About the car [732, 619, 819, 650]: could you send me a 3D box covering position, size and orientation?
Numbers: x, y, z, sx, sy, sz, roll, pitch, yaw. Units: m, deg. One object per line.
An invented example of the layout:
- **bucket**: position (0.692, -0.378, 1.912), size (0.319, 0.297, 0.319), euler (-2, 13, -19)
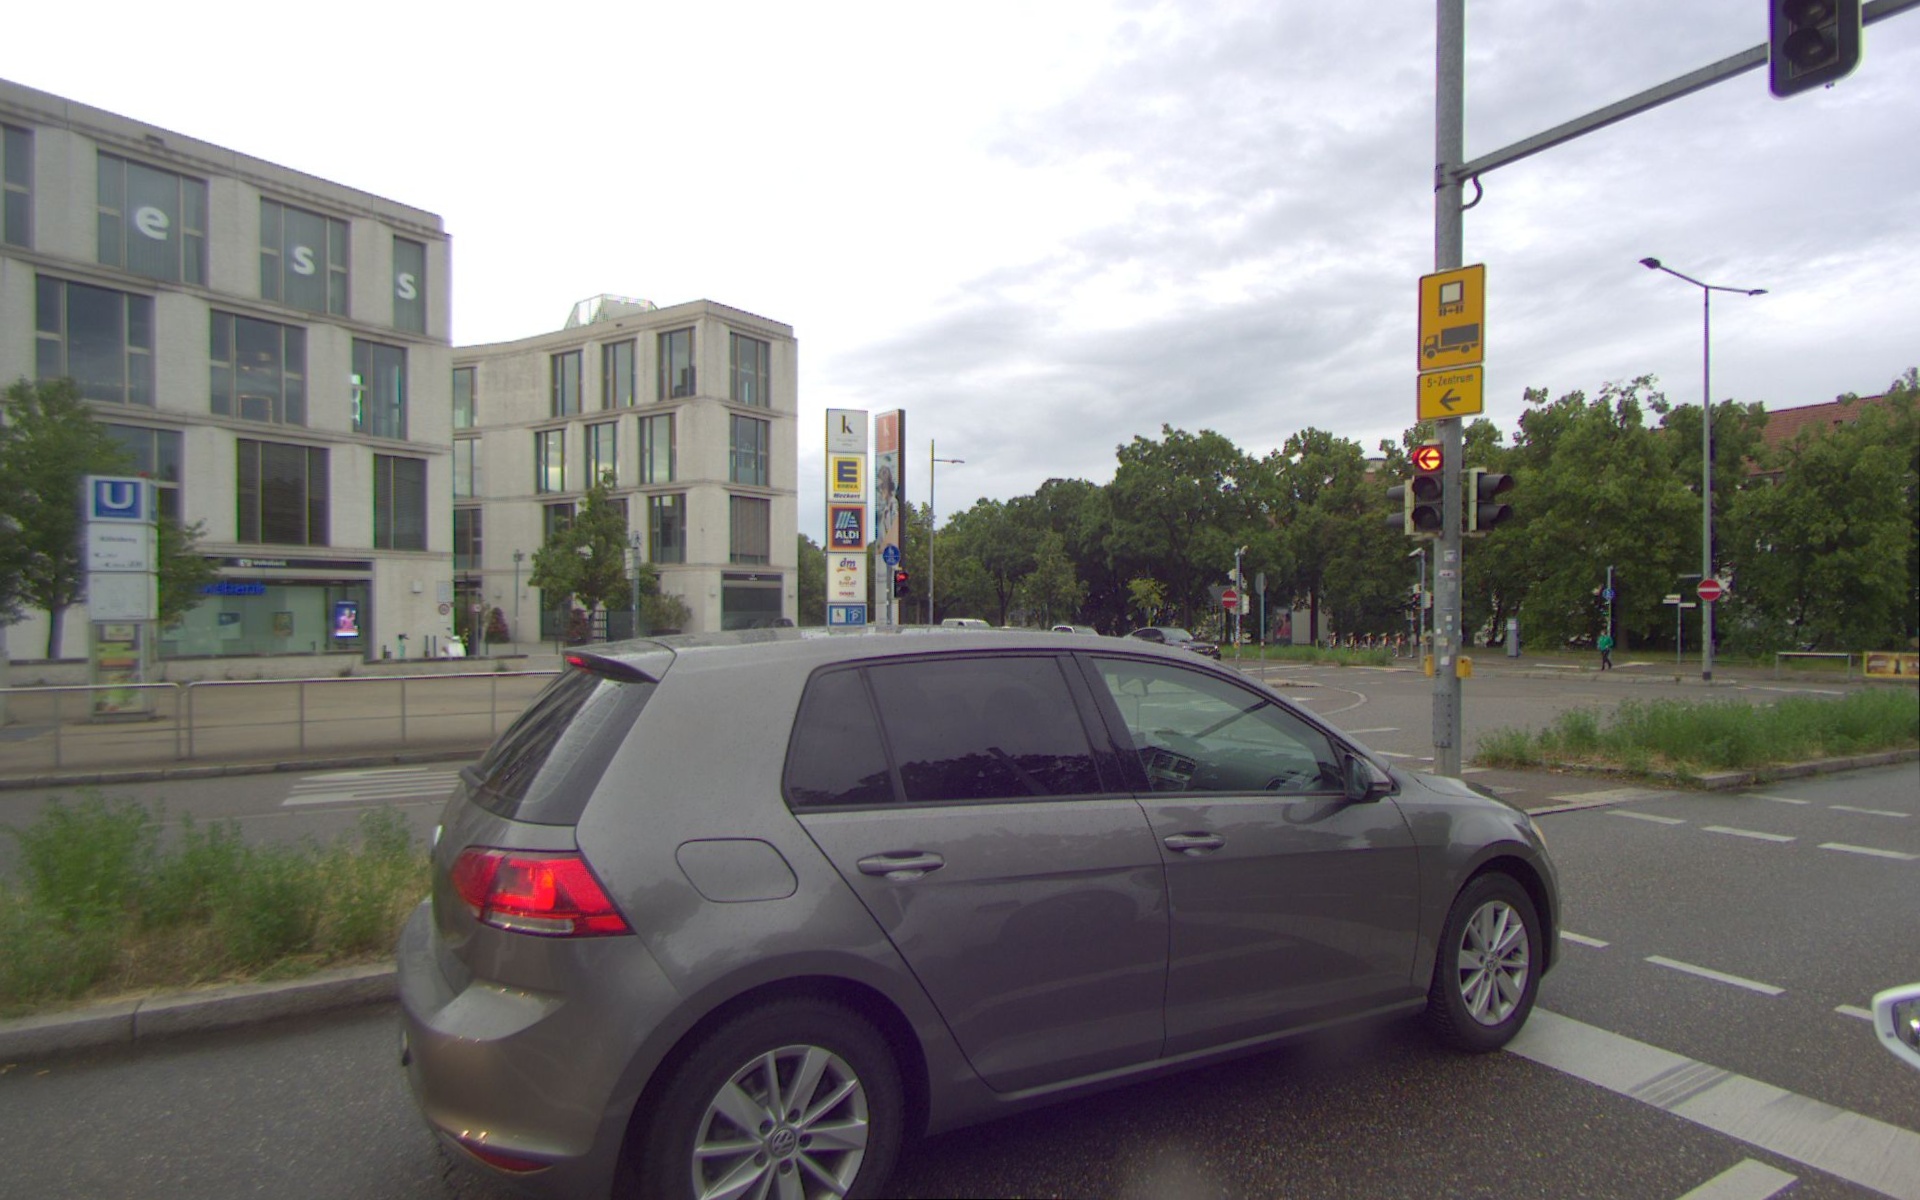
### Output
- **car**: position (-9.190, 1.716, 50.313), size (1.968, 1.483, 3.985), euler (0, -2, 37)

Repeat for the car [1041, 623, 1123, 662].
- **car**: position (5.553, 1.908, 46.021), size (1.976, 1.615, 3.536), euler (2, 0, -30)

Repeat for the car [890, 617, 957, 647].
- **car**: position (-2.260, 1.885, 60.387), size (1.976, 1.615, 4.855), euler (2, 0, -29)

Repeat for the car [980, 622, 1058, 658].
- **car**: position (2.927, 1.994, 50.926), size (1.976, 1.615, 4.185), euler (2, 0, -29)

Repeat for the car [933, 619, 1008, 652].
- **car**: position (0.528, 1.944, 55.399), size (1.976, 1.615, 4.855), euler (2, 0, -29)

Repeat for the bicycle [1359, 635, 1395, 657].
- **bicycle**: position (21.669, 2.394, 52.167), size (1.959, 1.085, 0.649), euler (2, 0, -30)

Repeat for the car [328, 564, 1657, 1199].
- **car**: position (0.375, 0.753, 3.554), size (4.325, 1.501, 1.807), euler (2, -1, -30)

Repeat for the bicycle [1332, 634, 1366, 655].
- **bicycle**: position (20.935, 2.388, 54.028), size (1.959, 1.085, 0.649), euler (2, 0, -30)

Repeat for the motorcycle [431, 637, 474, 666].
- **motorcycle**: position (-14.094, 1.427, 27.895), size (1.081, 0.750, 0.522), euler (2, 0, 29)

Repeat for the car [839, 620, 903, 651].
- **car**: position (-5.332, 2.111, 59.692), size (1.976, 1.615, 4.855), euler (2, 0, -29)

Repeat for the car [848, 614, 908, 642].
- **car**: position (-5.461, 1.816, 66.107), size (1.977, 1.615, 4.852), euler (2, 0, -31)

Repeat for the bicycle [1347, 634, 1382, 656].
- **bicycle**: position (21.368, 2.377, 53.027), size (1.959, 1.085, 0.649), euler (2, 0, -30)

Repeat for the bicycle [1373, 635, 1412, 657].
- **bicycle**: position (22.239, 2.360, 51.643), size (1.959, 1.085, 0.798), euler (2, 0, -30)

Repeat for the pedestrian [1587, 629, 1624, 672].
- **pedestrian**: position (27.244, 2.114, 42.372), size (0.933, 1.750, 0.920), euler (2, 0, -24)

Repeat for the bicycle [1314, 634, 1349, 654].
- **bicycle**: position (20.264, 2.402, 54.757), size (1.959, 1.085, 0.649), euler (2, 0, -30)

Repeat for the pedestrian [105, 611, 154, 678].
- **pedestrian**: position (-20.748, 1.108, 25.111), size (0.907, 1.626, 0.756), euler (2, -1, -39)

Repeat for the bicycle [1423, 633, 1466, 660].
- **bicycle**: position (23.756, 2.270, 49.255), size (1.959, 1.266, 0.986), euler (2, 0, -30)

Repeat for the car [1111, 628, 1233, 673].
- **car**: position (8.391, 1.965, 40.234), size (1.976, 1.520, 5.001), euler (2, 0, -29)

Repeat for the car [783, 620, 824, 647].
- **car**: position (-12.587, 2.661, 80.385), size (1.976, 2.040, 3.969), euler (1, -1, -29)
